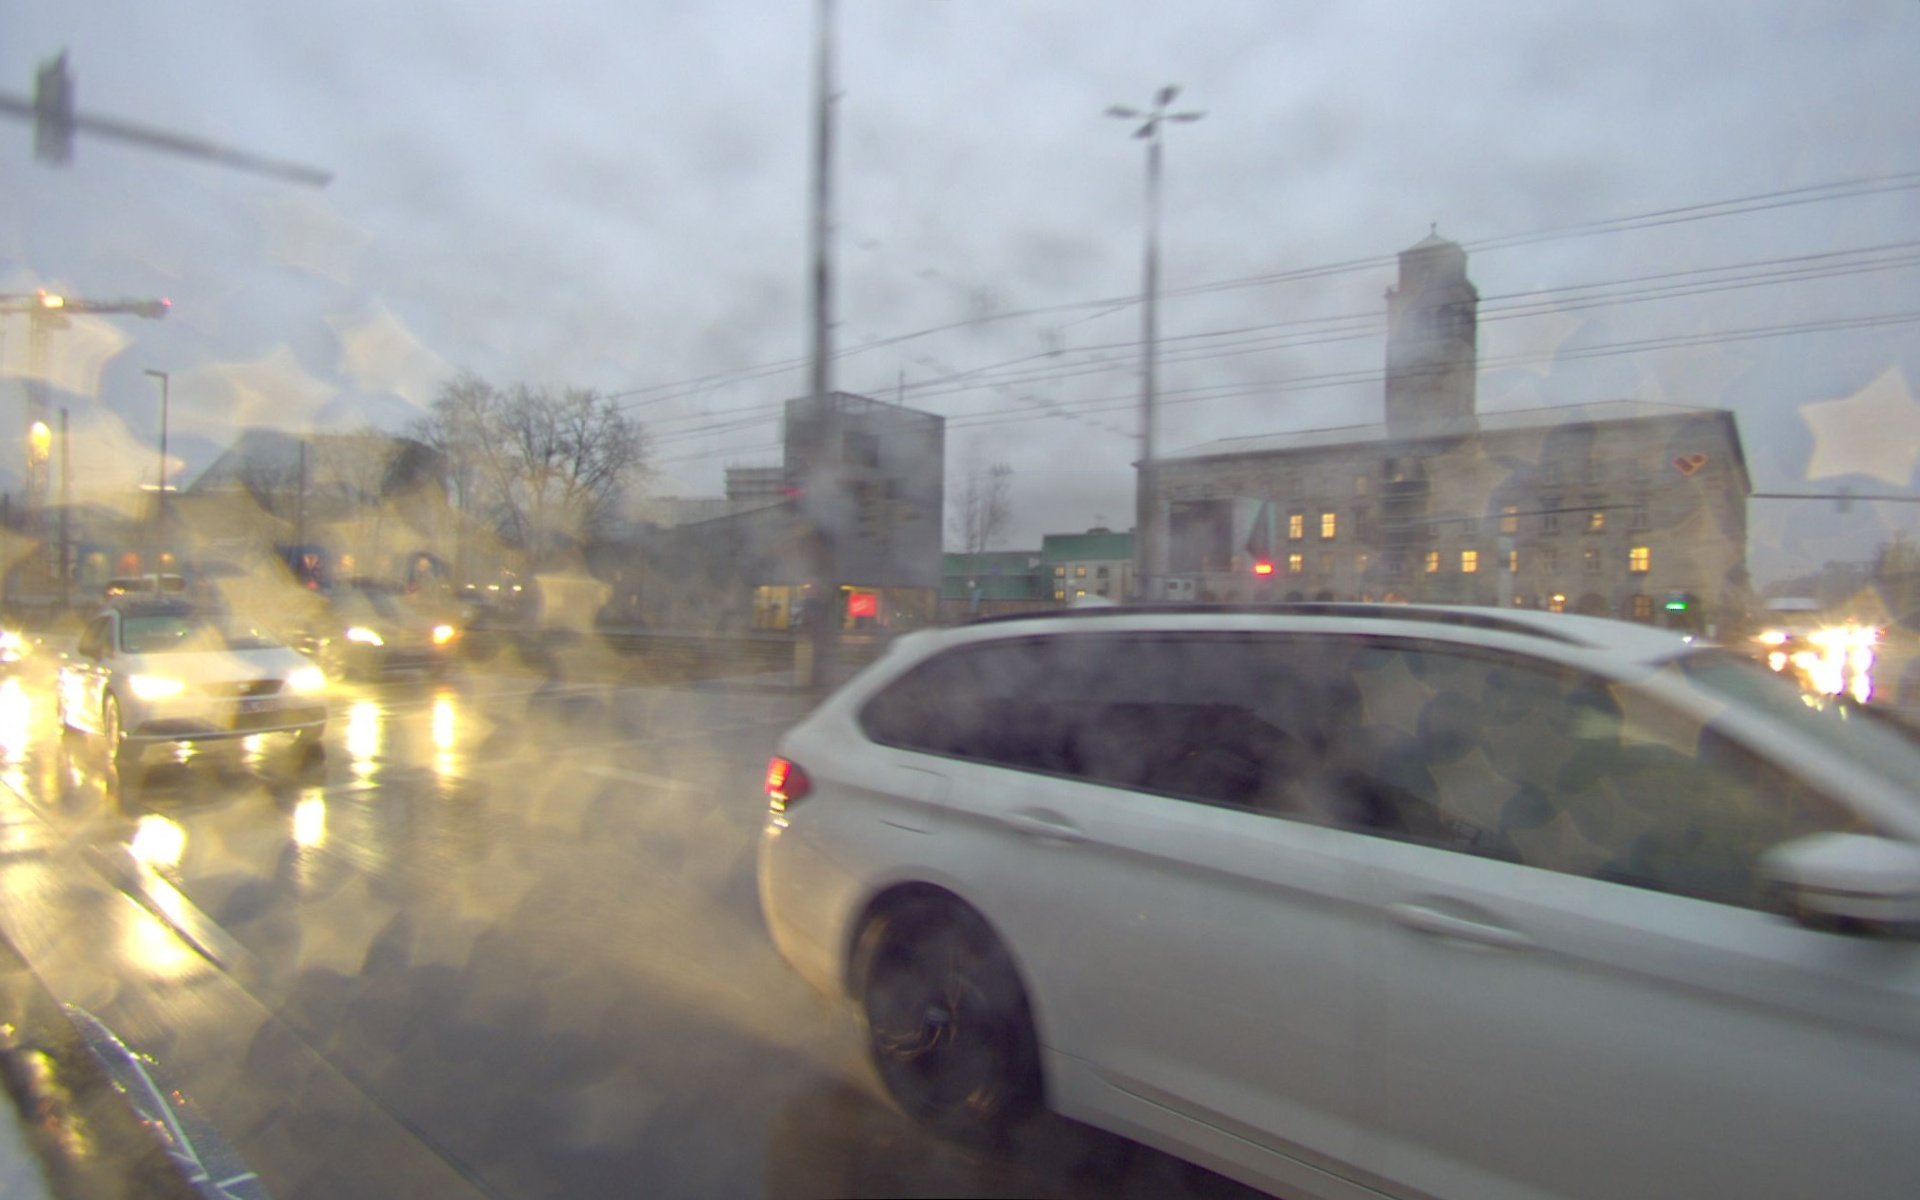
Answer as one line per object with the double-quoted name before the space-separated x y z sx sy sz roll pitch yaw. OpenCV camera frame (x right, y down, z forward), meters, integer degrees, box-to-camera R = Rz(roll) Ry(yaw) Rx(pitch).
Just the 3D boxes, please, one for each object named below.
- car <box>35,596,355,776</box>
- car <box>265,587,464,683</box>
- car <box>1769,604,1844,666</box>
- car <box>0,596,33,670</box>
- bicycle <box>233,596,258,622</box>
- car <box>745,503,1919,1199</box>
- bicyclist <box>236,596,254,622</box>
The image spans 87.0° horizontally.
"car" -8.408 0.736 10.959 4.504 1.498 1.923 1 1 42
"car" -11.402 0.578 19.270 4.286 1.596 1.947 1 0 40
"car" 35.140 1.397 41.980 2.061 2.440 4.693 0 -1 44
"car" -21.546 0.653 21.460 4.498 1.498 1.975 0 -1 37
"bicycle" -49.397 0.599 69.953 2.060 1.745 0.755 2 2 36
"car" 1.761 0.623 2.419 4.554 1.498 1.998 0 -1 38
"bicyclist" -49.428 0.594 69.972 0.959 1.745 0.755 2 2 36
